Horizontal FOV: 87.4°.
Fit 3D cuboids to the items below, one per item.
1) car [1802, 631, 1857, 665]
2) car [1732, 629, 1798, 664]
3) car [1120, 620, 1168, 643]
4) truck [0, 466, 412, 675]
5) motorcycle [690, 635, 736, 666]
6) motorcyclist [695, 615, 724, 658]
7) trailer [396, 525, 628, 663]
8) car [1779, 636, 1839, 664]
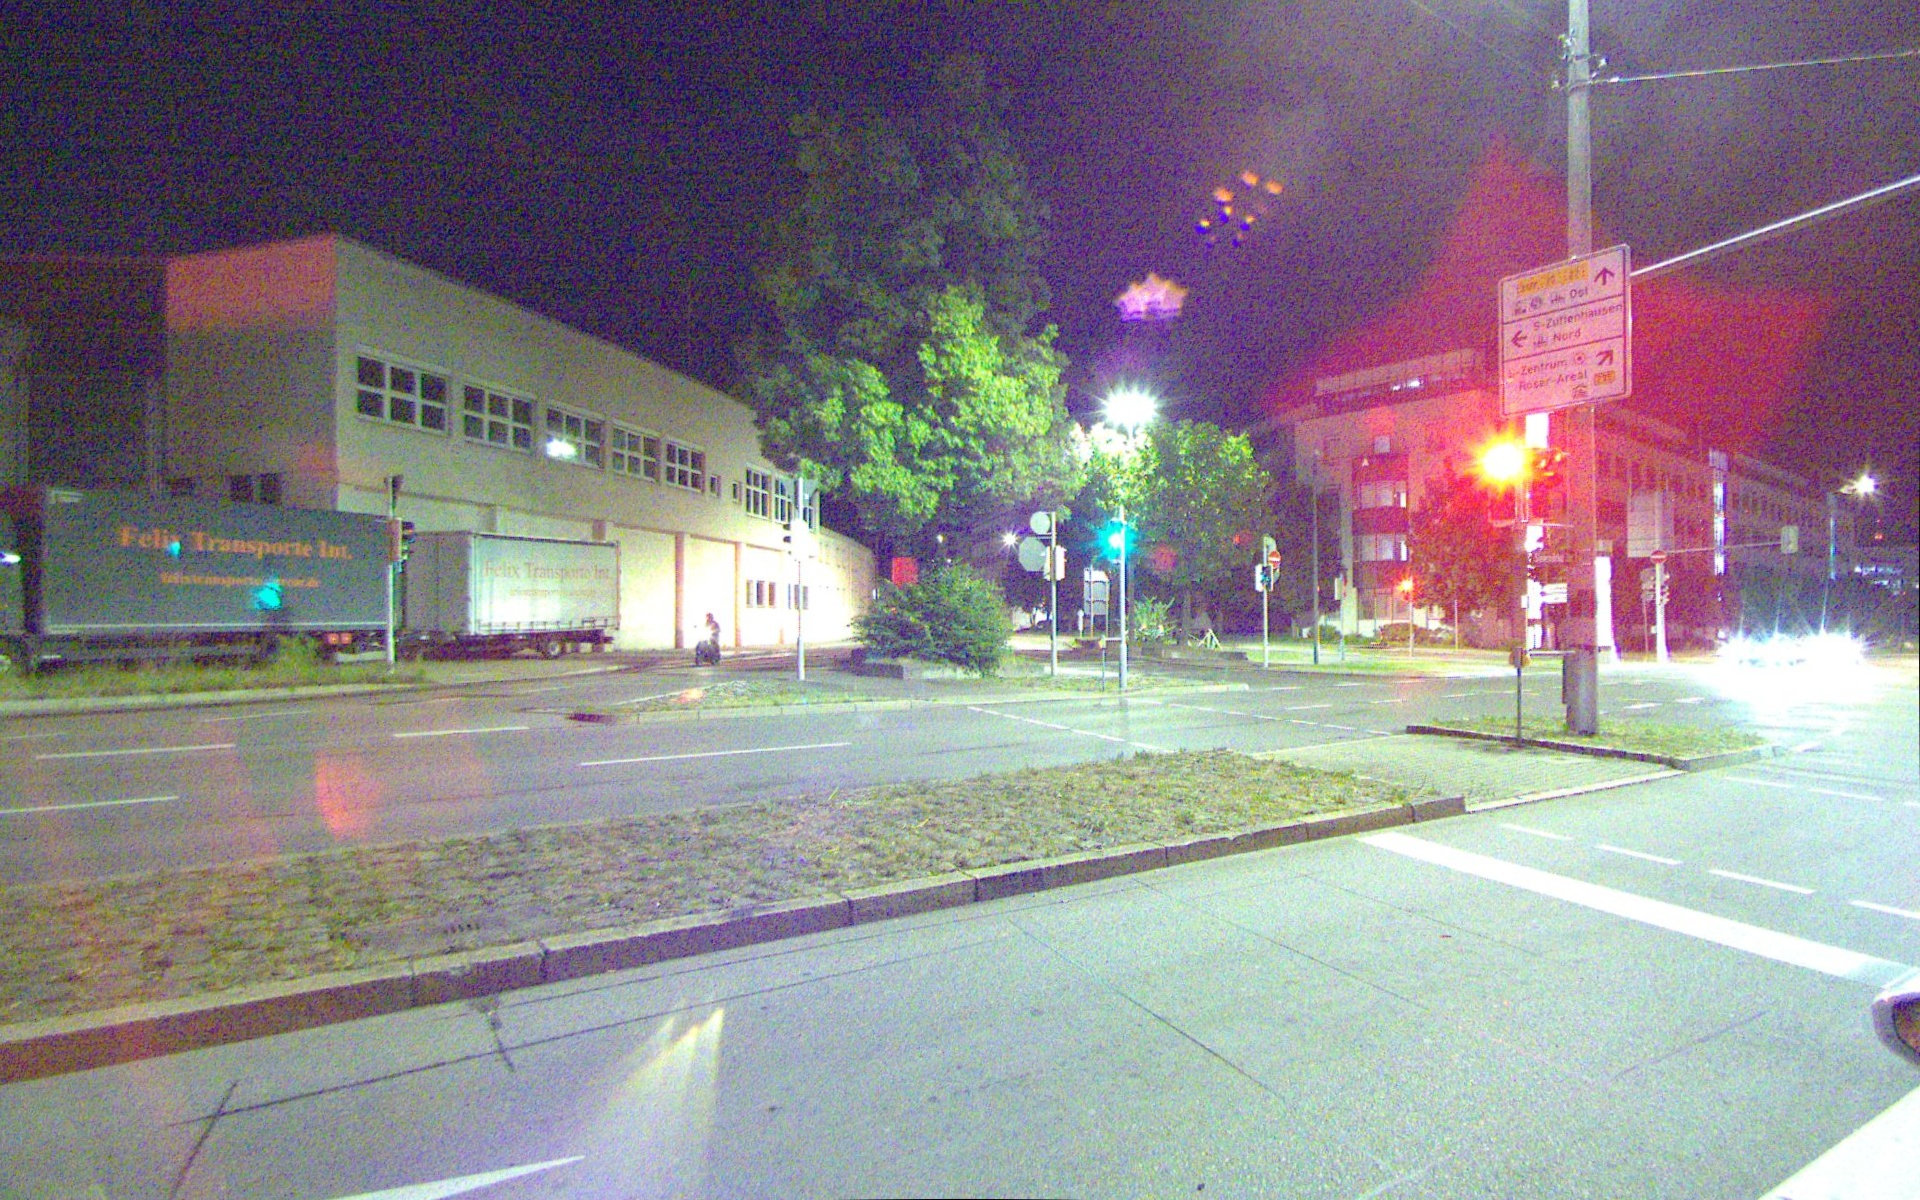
[{"bbox_3d":[47.653,2.628,55.022,3.518,1.750,1.743,3,-2,-39],"label":"car"},{"bbox_3d":[37.287,2.171,46.503,3.966,1.535,1.603,3,-2,-39],"label":"car"},{"bbox_3d":[12.740,2.133,69.638,1.681,1.511,3.987,2,-1,-16],"label":"car"},{"bbox_3d":[-17.506,-0.441,22.243,2.892,3.846,9.552,1,-2,25],"label":"truck"},{"bbox_3d":[-7.425,1.505,30.302,0.568,0.907,2.157,-1,-2,9],"label":"motorcycle"},{"bbox_3d":[-7.540,1.096,30.227,0.635,1.278,0.579,1,-1,9],"label":"motorcyclist"},{"bbox_3d":[-13.678,-0.078,31.315,2.571,3.841,6.512,1,-2,23],"label":"trailer"},{"bbox_3d":[43.027,2.534,50.884,3.518,1.339,1.743,3,-2,-39],"label":"car"}]
